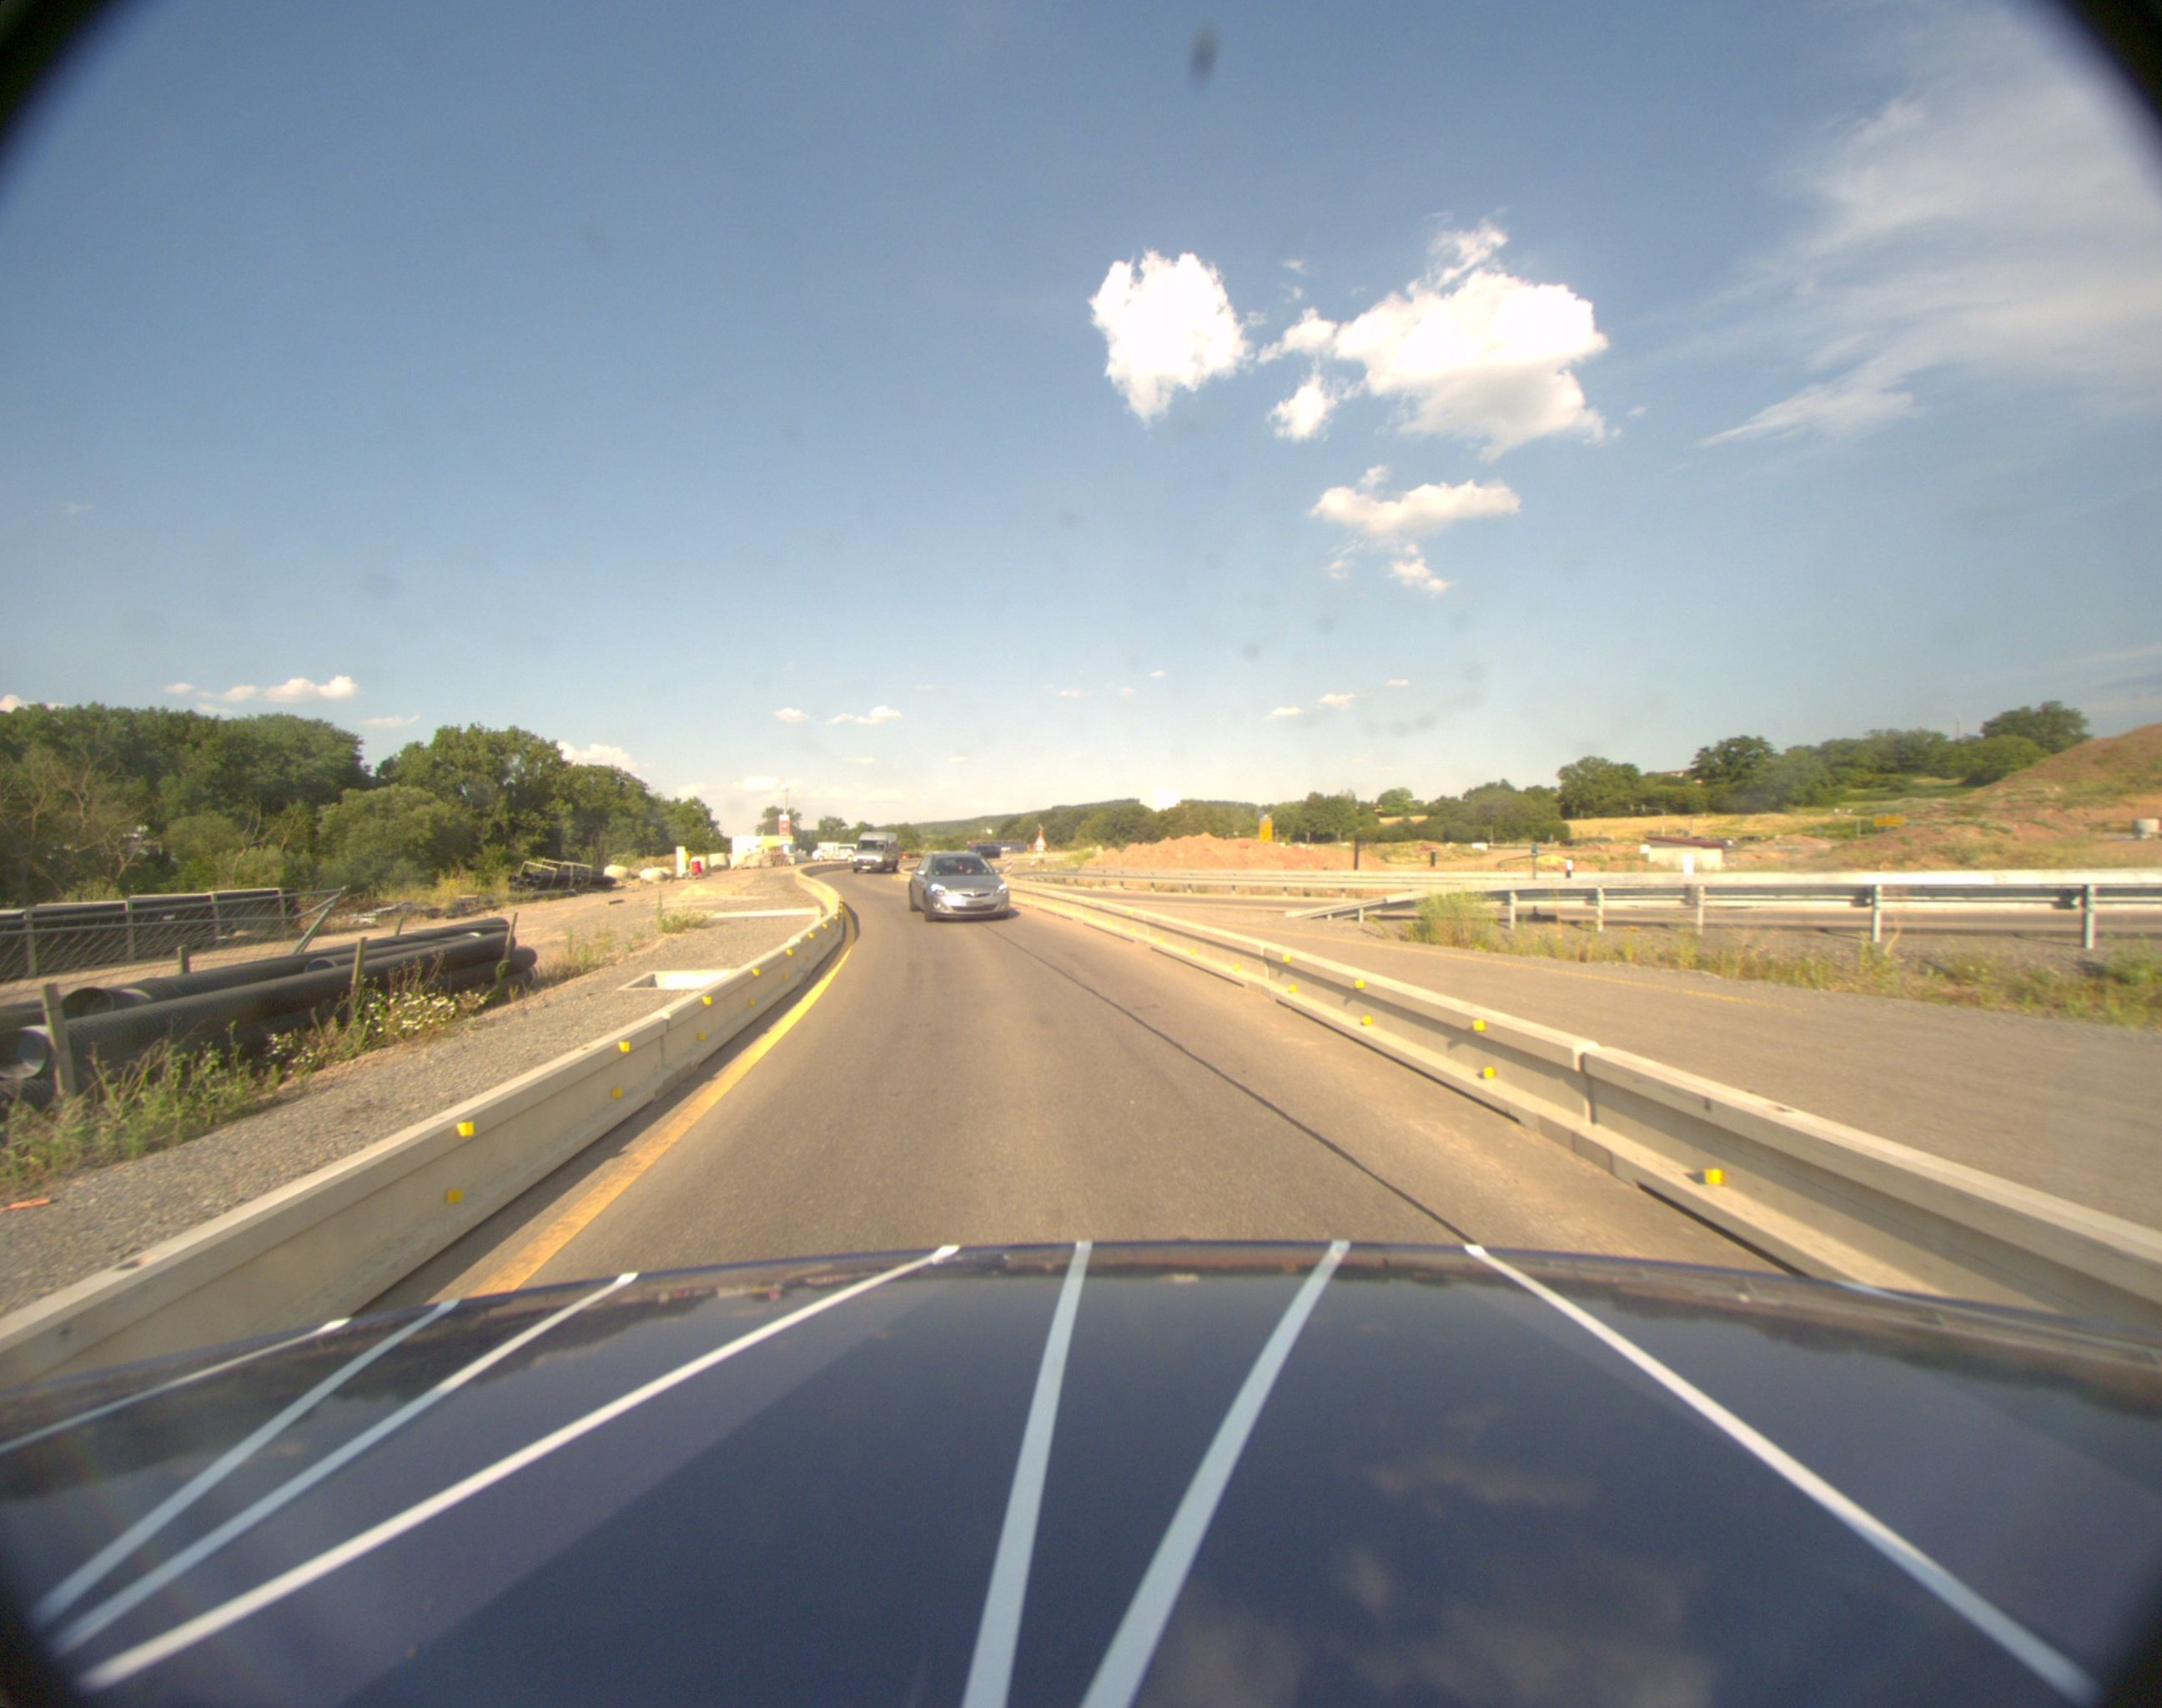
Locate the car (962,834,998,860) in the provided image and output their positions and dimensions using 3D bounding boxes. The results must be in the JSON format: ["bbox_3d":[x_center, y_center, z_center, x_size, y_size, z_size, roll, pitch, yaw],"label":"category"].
[{"bbox_3d":[-9.528,-0.662,72.182,1.873,2.390,4.004,0,2,17],"label":"car"}]

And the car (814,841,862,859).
[{"bbox_3d":[-29.251,-0.518,91.435,5.325,2.067,2.482,-1,2,-22],"label":"car"}]

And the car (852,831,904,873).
[{"bbox_3d":[-12.948,-0.197,48.850,1.916,2.487,5.795,-1,2,-2],"label":"car"}]

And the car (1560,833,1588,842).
[{"bbox_3d":[80.253,-2.688,123.735,4.521,1.511,1.711,-1,3,-27],"label":"car"}]

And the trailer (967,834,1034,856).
[{"bbox_3d":[-9.329,-1.077,88.591,7.242,2.400,3.005,-2,1,-43],"label":"trailer"}]

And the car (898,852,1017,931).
[{"bbox_3d":[-2.938,0.739,17.323,1.750,1.476,4.243,-1,1,-22],"label":"car"}]
